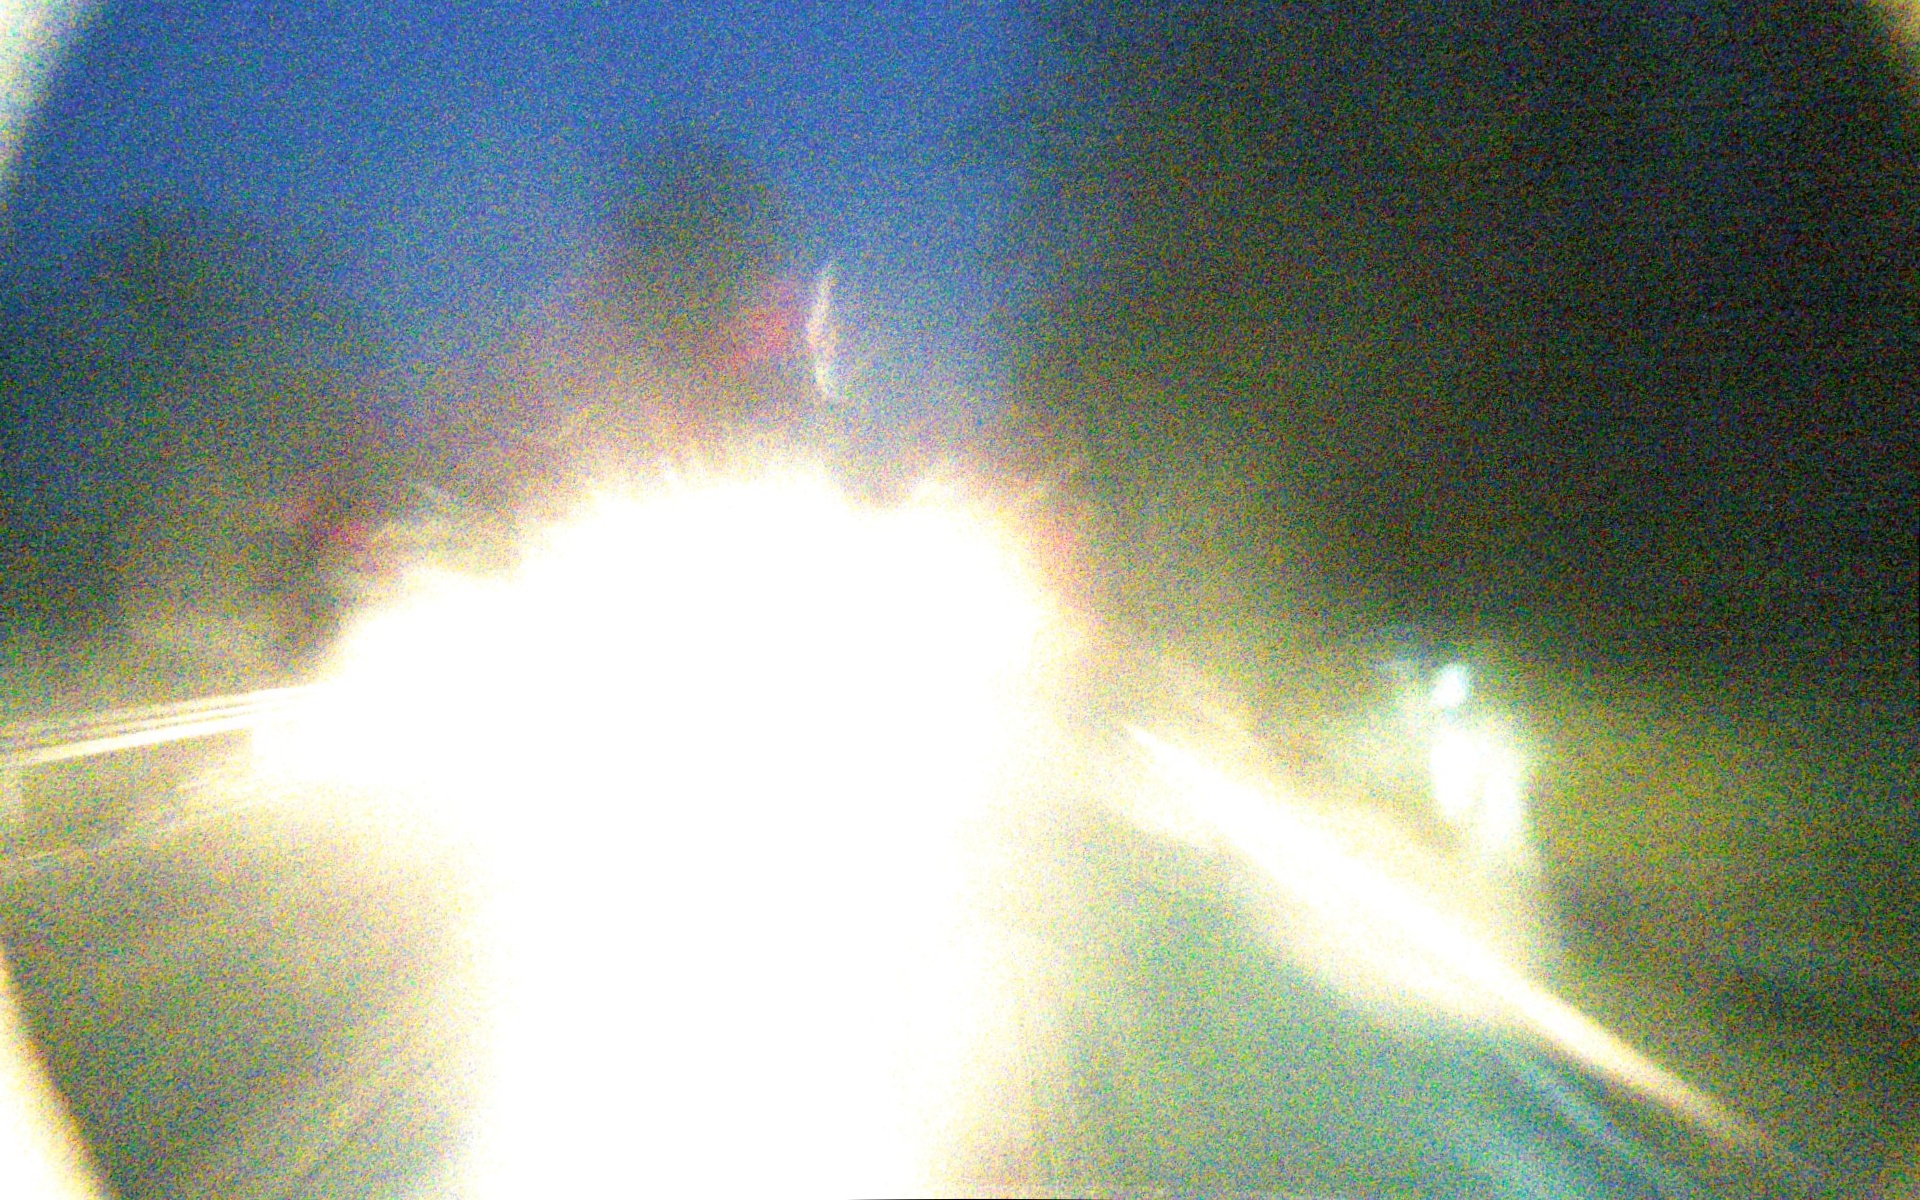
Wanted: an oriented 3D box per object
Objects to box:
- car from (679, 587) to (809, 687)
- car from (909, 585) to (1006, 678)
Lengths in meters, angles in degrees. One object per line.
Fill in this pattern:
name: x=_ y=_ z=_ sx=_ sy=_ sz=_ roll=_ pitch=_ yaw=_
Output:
car: x=-3.840 y=0.603 z=30.105 sx=1.763 sy=1.607 sz=4.457 roll=-2 pitch=1 yaw=0
car: x=-0.106 y=0.658 z=37.568 sx=1.954 sy=1.838 sz=3.916 roll=-2 pitch=2 yaw=-3
